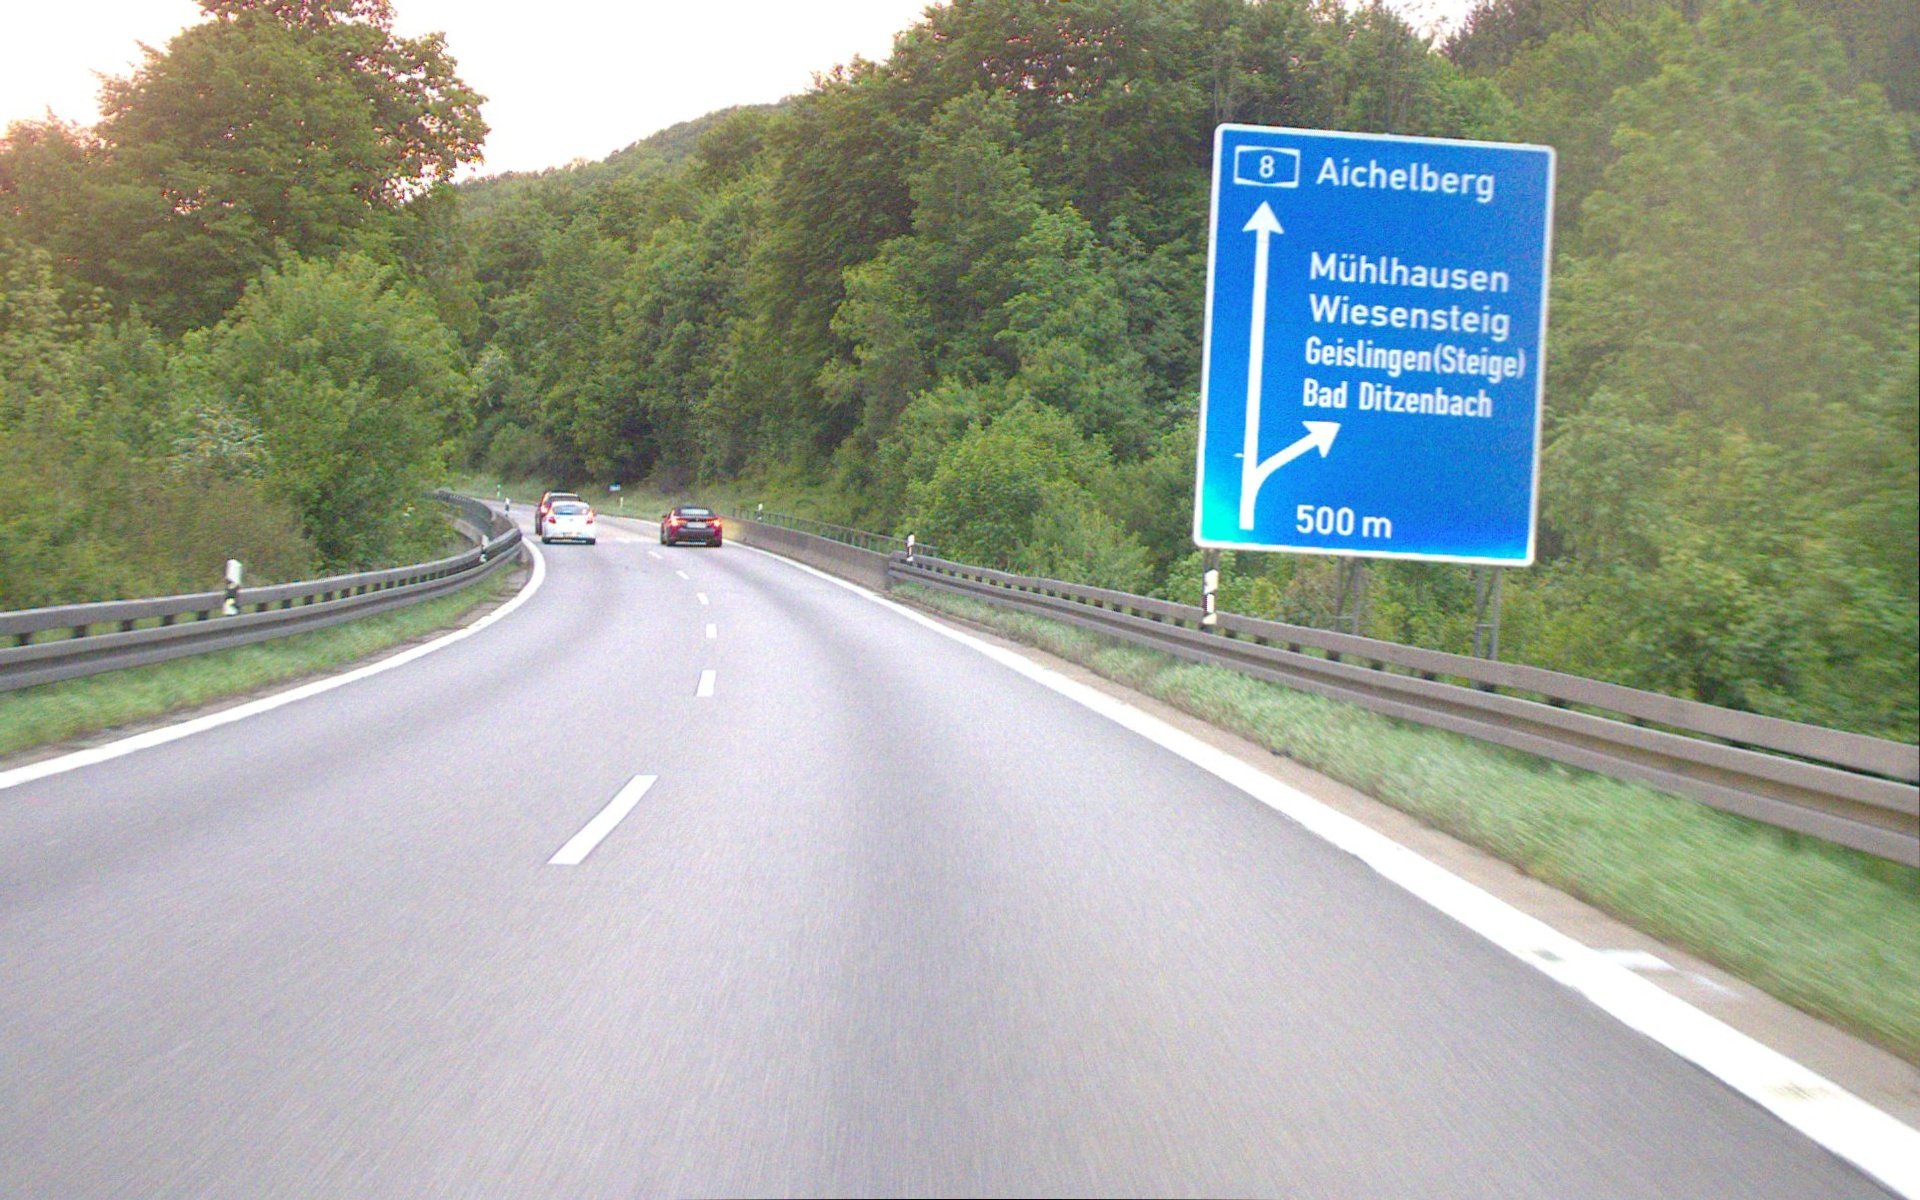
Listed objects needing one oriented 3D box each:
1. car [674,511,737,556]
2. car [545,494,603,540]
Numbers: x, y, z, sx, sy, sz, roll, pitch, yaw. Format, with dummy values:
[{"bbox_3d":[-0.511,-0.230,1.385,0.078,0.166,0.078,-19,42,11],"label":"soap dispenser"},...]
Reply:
[{"bbox_3d":[-8.858,-2.298,119.910,1.878,1.461,4.000,1,0,0],"label":"car"},{"bbox_3d":[-13.421,-2.868,119.622,1.718,1.496,4.000,2,0,-3],"label":"car"}]
